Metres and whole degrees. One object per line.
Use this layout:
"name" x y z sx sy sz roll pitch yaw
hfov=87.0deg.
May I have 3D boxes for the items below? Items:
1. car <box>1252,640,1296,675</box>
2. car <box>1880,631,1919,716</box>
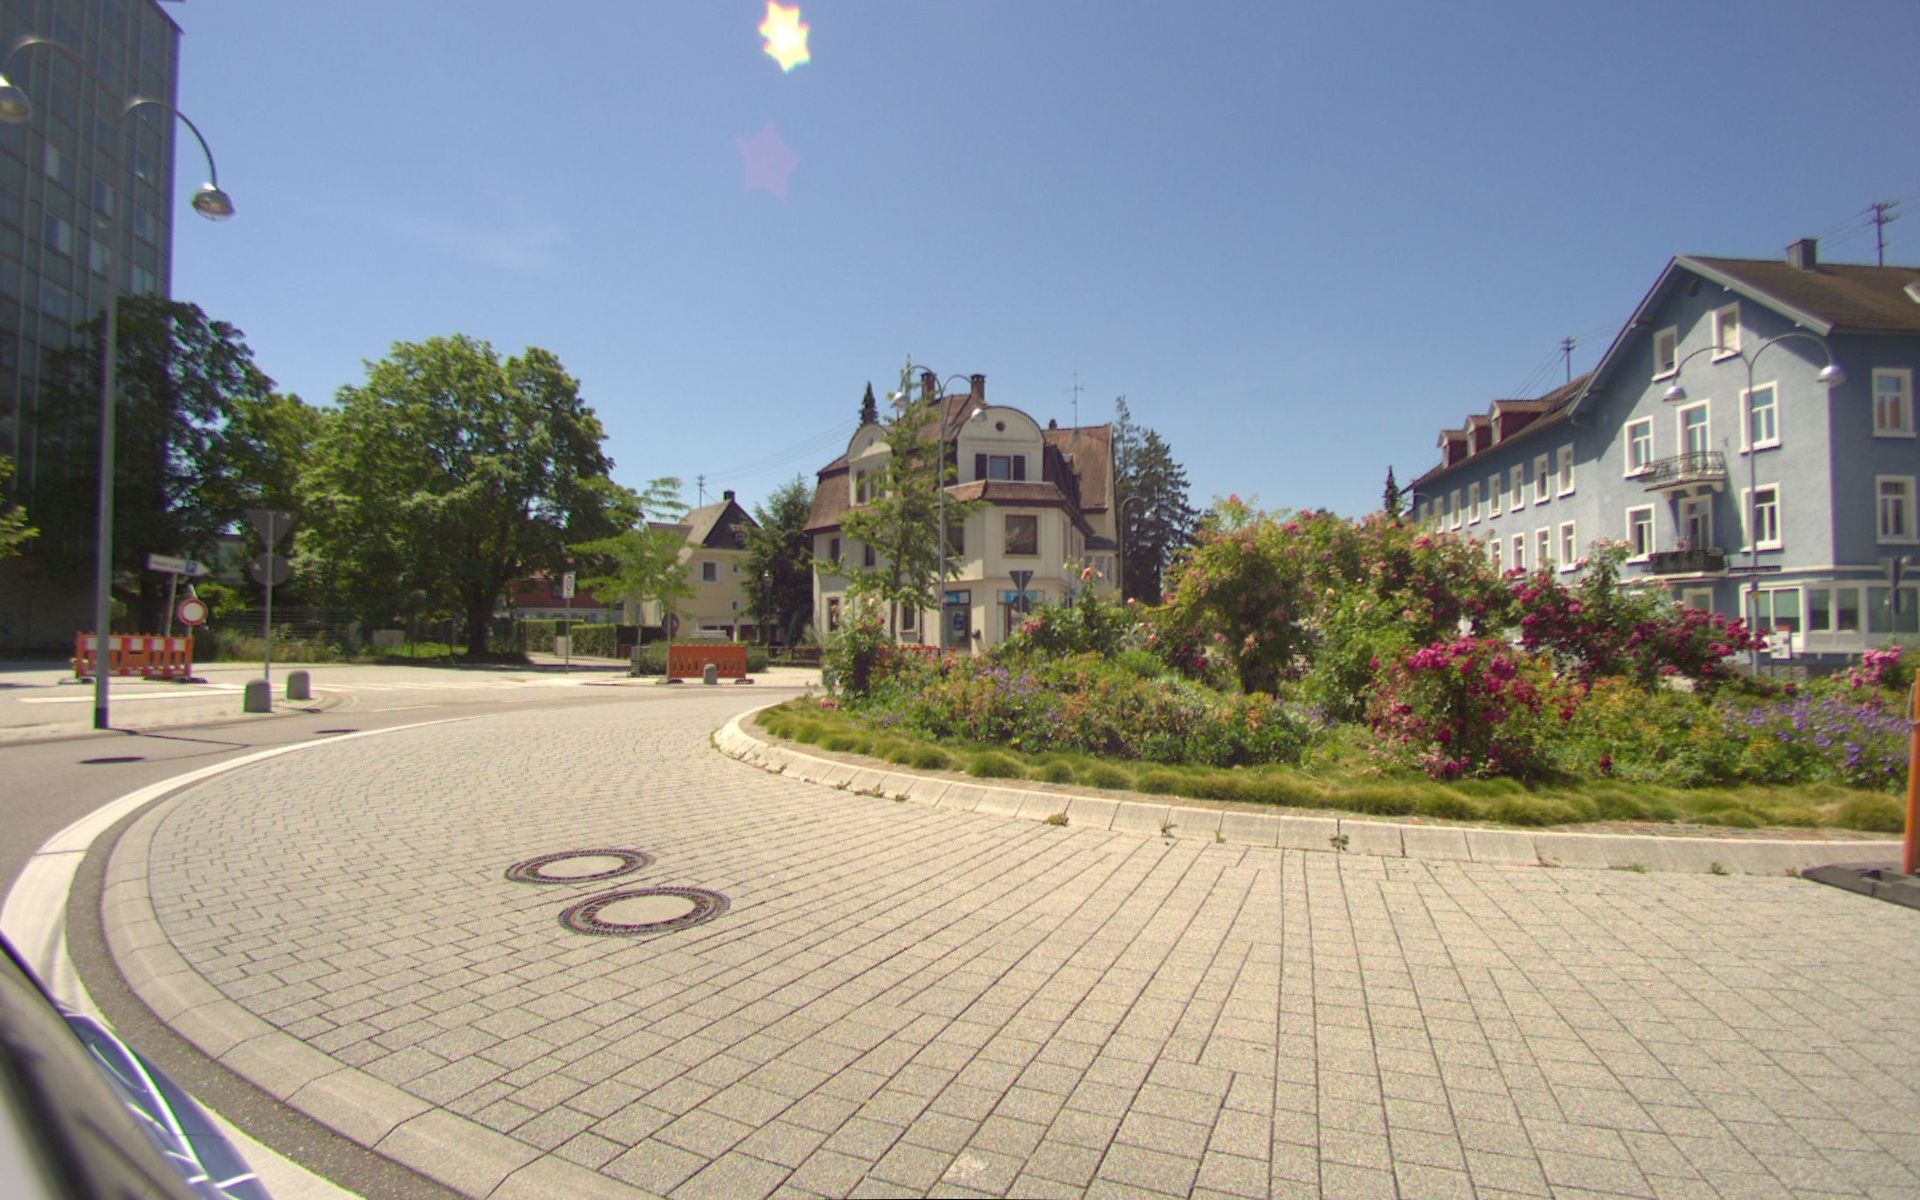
"car" 19.031 3.450 61.479 1.977 1.861 3.988 0 0 9
"car" 22.074 1.524 20.536 4.531 1.751 1.987 -1 -3 19
